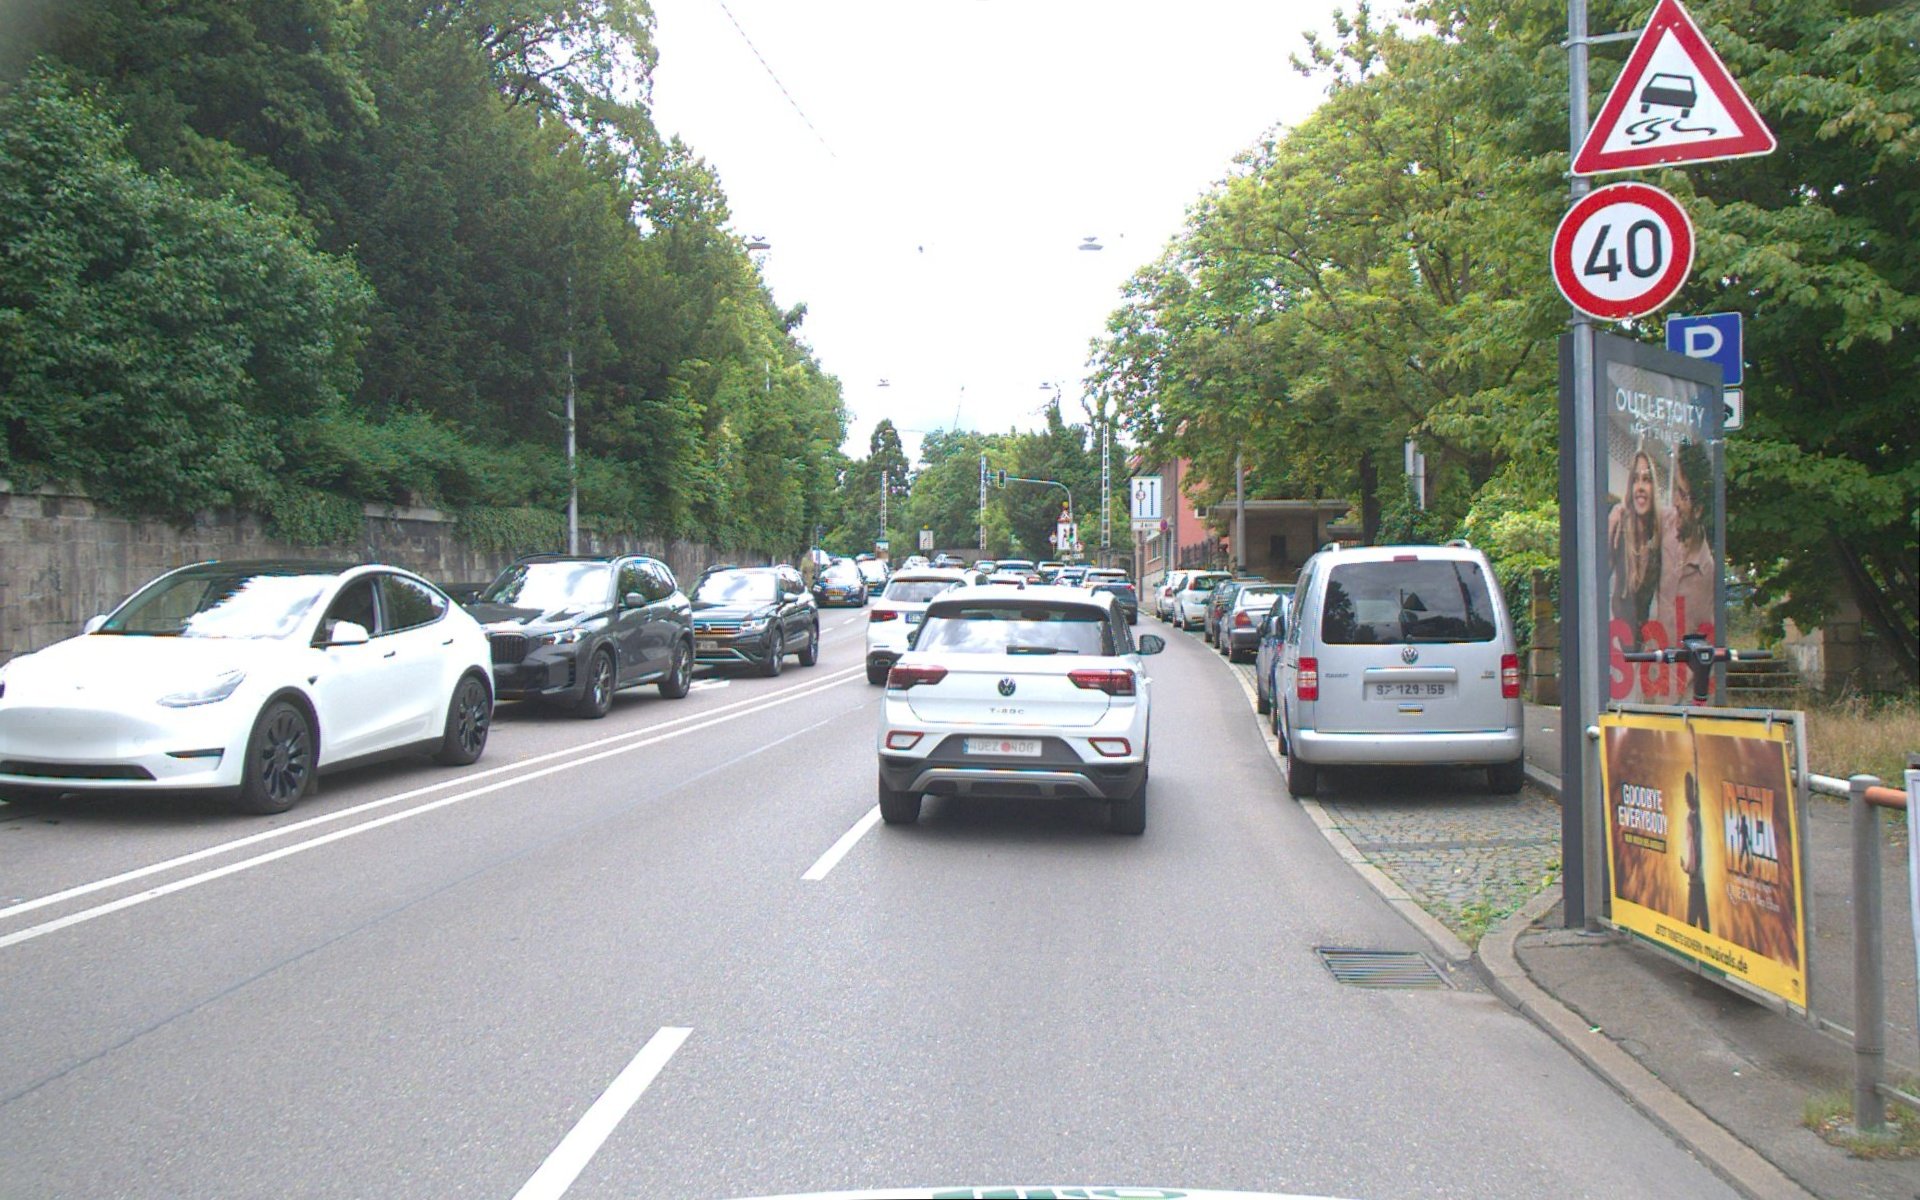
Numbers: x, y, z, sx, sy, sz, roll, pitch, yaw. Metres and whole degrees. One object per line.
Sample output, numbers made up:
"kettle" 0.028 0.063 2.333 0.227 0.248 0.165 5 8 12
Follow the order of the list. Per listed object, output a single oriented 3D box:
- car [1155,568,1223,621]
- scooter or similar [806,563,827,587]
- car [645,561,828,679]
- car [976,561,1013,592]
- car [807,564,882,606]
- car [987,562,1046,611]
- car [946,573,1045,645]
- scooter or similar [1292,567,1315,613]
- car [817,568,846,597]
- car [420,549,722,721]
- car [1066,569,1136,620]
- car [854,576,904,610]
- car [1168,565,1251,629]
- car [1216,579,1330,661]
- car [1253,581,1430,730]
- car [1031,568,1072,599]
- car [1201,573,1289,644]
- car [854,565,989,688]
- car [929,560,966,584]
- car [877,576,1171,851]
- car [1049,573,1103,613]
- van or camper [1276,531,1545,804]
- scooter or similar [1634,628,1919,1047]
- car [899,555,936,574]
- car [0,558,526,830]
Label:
"car" 6.846 -0.205 49.751 1.640 1.486 4.368 -1 1 3
"scooter or similar" -7.979 -1.371 92.246 0.426 1.258 1.092 5 0 41
"car" -3.457 0.267 26.498 1.808 1.680 4.627 -1 1 6
"car" 1.681 -1.158 82.103 1.744 1.480 4.000 1 1 0
"car" -4.172 -0.566 60.564 1.960 1.434 4.759 -1 1 6
"car" 1.977 -0.502 58.001 1.952 1.583 4.152 2 1 2
"car" 0.860 0.175 37.090 1.951 1.515 4.153 0 0 5
"scooter or similar" 9.835 -0.286 47.357 0.506 1.282 1.169 -2 1 6
"car" -9.802 -1.315 125.610 1.857 1.880 4.388 -2 -3 -8
"car" -4.411 0.343 19.661 1.918 1.780 4.882 -1 1 7
"car" 4.098 -0.177 48.625 1.952 1.439 4.152 0 0 3
"car" -3.627 -0.329 74.535 1.804 1.461 4.002 0 1 3
"car" 6.653 -0.116 44.416 1.679 1.497 4.040 -3 2 2
"car" 5.851 0.323 31.357 1.732 1.423 4.554 -1 1 6
"car" 4.217 0.549 18.764 1.563 1.485 3.945 -1 0 8
"car" 4.505 -0.826 81.791 1.952 1.475 4.152 1 1 2
"car" 6.298 0.158 36.837 1.528 1.446 3.426 -3 1 4
"car" -0.494 0.347 24.709 1.721 1.637 3.797 2 1 2
"car" -0.924 -1.936 115.871 1.957 1.602 4.141 0 1 -10
"car" 0.567 0.660 11.828 1.720 1.583 3.798 2 1 6
"car" 4.484 -0.290 64.272 1.952 1.475 4.152 1 1 2
"van or camper" 3.519 0.448 13.584 1.662 1.877 4.246 0 0 9
"scooter or similar" 3.004 0.786 6.108 0.505 1.311 1.488 -2 0 5
"car" -3.302 -2.733 127.731 1.961 1.475 4.133 0 1 -15
"car" -4.962 0.514 12.162 1.798 1.581 4.792 1 1 6
